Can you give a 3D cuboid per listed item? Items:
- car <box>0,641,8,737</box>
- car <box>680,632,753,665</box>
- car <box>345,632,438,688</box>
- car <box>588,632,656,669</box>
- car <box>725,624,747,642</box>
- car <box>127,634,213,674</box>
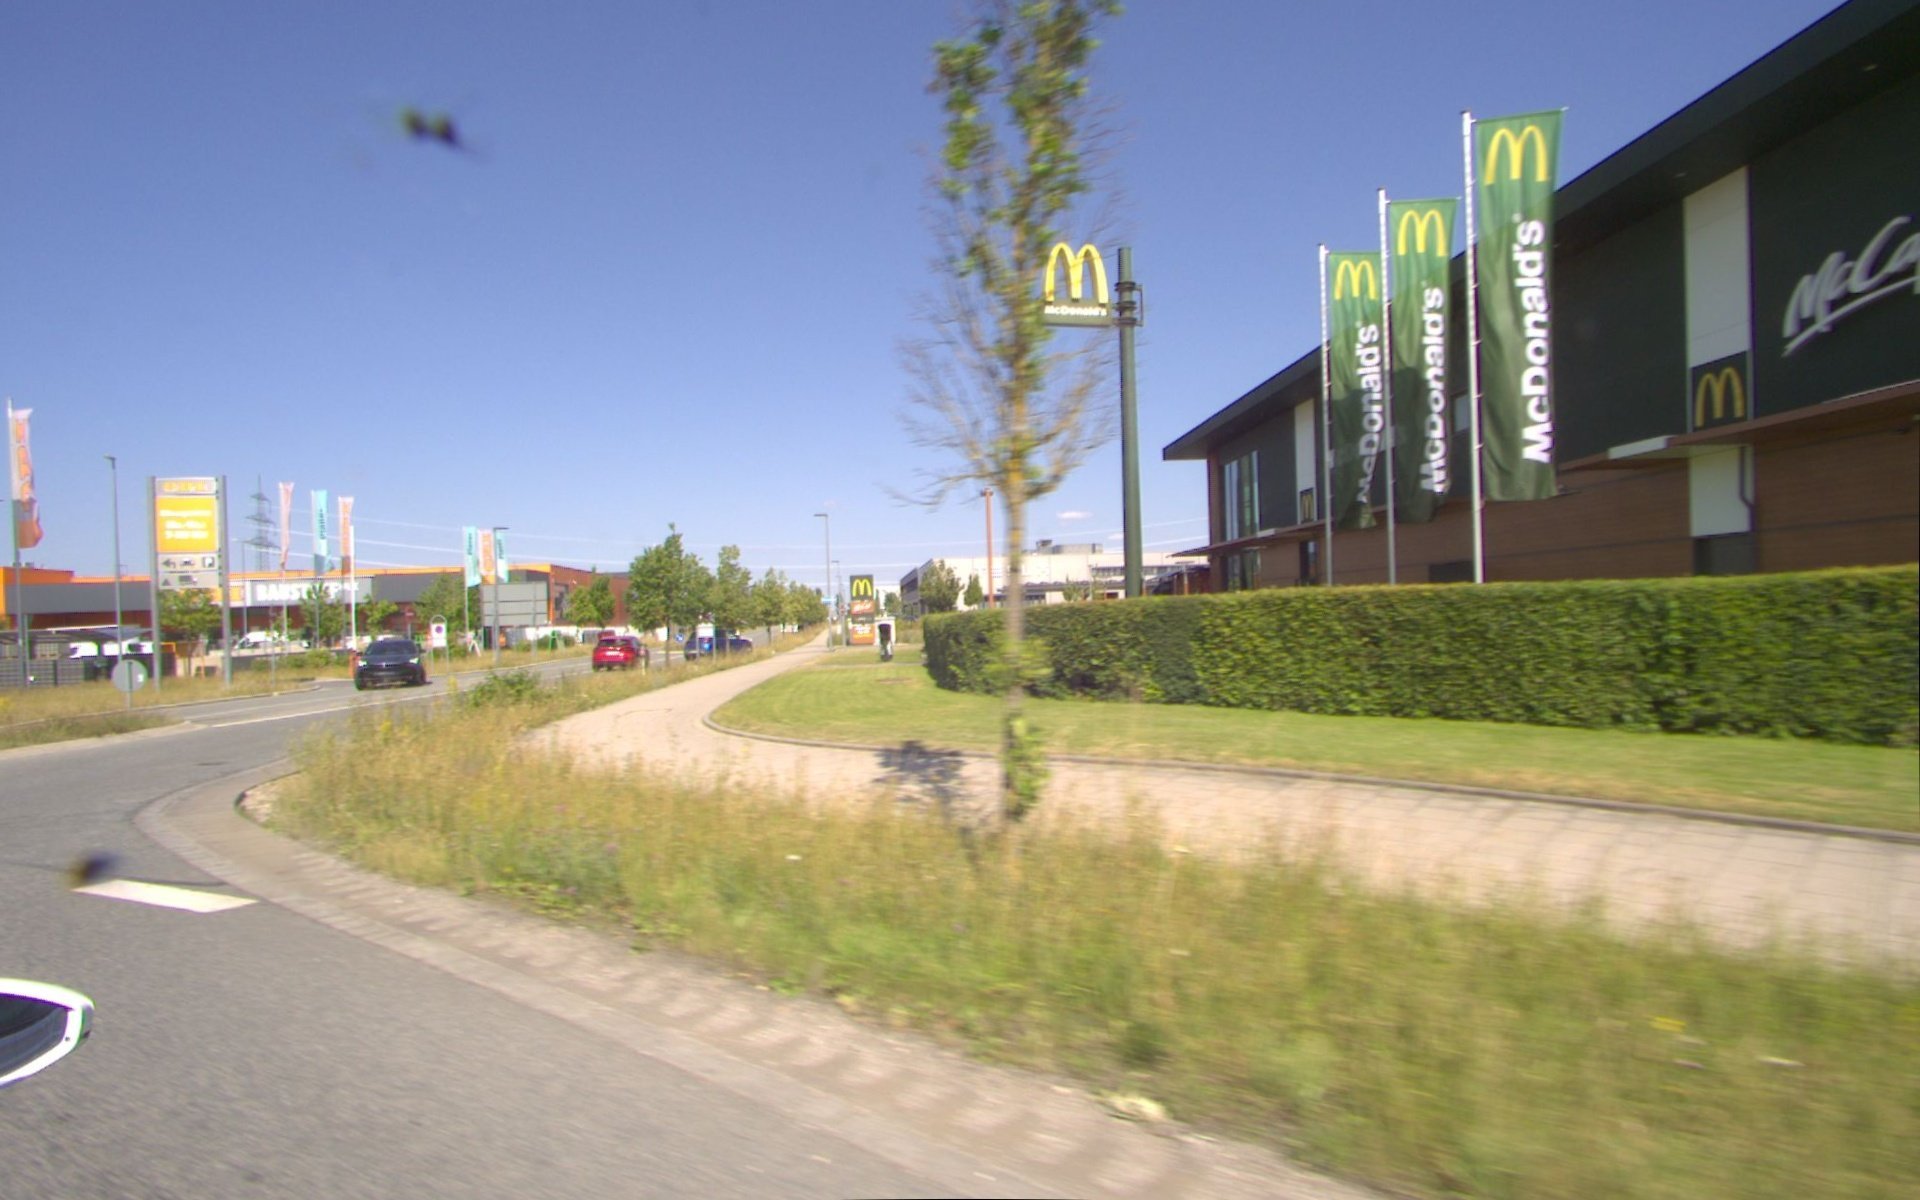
[{"bbox_3d":[-18.385,1.628,15.983,1.919,1.728,4.628,-3,-1,-1],"label":"car"},{"bbox_3d":[-12.897,2.550,53.255,1.825,1.656,4.072,-1,-2,21],"label":"car"},{"bbox_3d":[-19.314,1.991,34.226,2.044,1.648,4.685,-3,-1,-21],"label":"car"},{"bbox_3d":[-14.426,2.128,42.967,1.773,1.434,4.117,-1,-1,-4],"label":"car"},{"bbox_3d":[-18.915,2.782,84.549,1.485,1.459,3.350,-1,-1,-8],"label":"car"},{"bbox_3d":[-39.464,2.718,50.139,1.668,1.864,3.776,-2,-3,-8],"label":"car"}]
